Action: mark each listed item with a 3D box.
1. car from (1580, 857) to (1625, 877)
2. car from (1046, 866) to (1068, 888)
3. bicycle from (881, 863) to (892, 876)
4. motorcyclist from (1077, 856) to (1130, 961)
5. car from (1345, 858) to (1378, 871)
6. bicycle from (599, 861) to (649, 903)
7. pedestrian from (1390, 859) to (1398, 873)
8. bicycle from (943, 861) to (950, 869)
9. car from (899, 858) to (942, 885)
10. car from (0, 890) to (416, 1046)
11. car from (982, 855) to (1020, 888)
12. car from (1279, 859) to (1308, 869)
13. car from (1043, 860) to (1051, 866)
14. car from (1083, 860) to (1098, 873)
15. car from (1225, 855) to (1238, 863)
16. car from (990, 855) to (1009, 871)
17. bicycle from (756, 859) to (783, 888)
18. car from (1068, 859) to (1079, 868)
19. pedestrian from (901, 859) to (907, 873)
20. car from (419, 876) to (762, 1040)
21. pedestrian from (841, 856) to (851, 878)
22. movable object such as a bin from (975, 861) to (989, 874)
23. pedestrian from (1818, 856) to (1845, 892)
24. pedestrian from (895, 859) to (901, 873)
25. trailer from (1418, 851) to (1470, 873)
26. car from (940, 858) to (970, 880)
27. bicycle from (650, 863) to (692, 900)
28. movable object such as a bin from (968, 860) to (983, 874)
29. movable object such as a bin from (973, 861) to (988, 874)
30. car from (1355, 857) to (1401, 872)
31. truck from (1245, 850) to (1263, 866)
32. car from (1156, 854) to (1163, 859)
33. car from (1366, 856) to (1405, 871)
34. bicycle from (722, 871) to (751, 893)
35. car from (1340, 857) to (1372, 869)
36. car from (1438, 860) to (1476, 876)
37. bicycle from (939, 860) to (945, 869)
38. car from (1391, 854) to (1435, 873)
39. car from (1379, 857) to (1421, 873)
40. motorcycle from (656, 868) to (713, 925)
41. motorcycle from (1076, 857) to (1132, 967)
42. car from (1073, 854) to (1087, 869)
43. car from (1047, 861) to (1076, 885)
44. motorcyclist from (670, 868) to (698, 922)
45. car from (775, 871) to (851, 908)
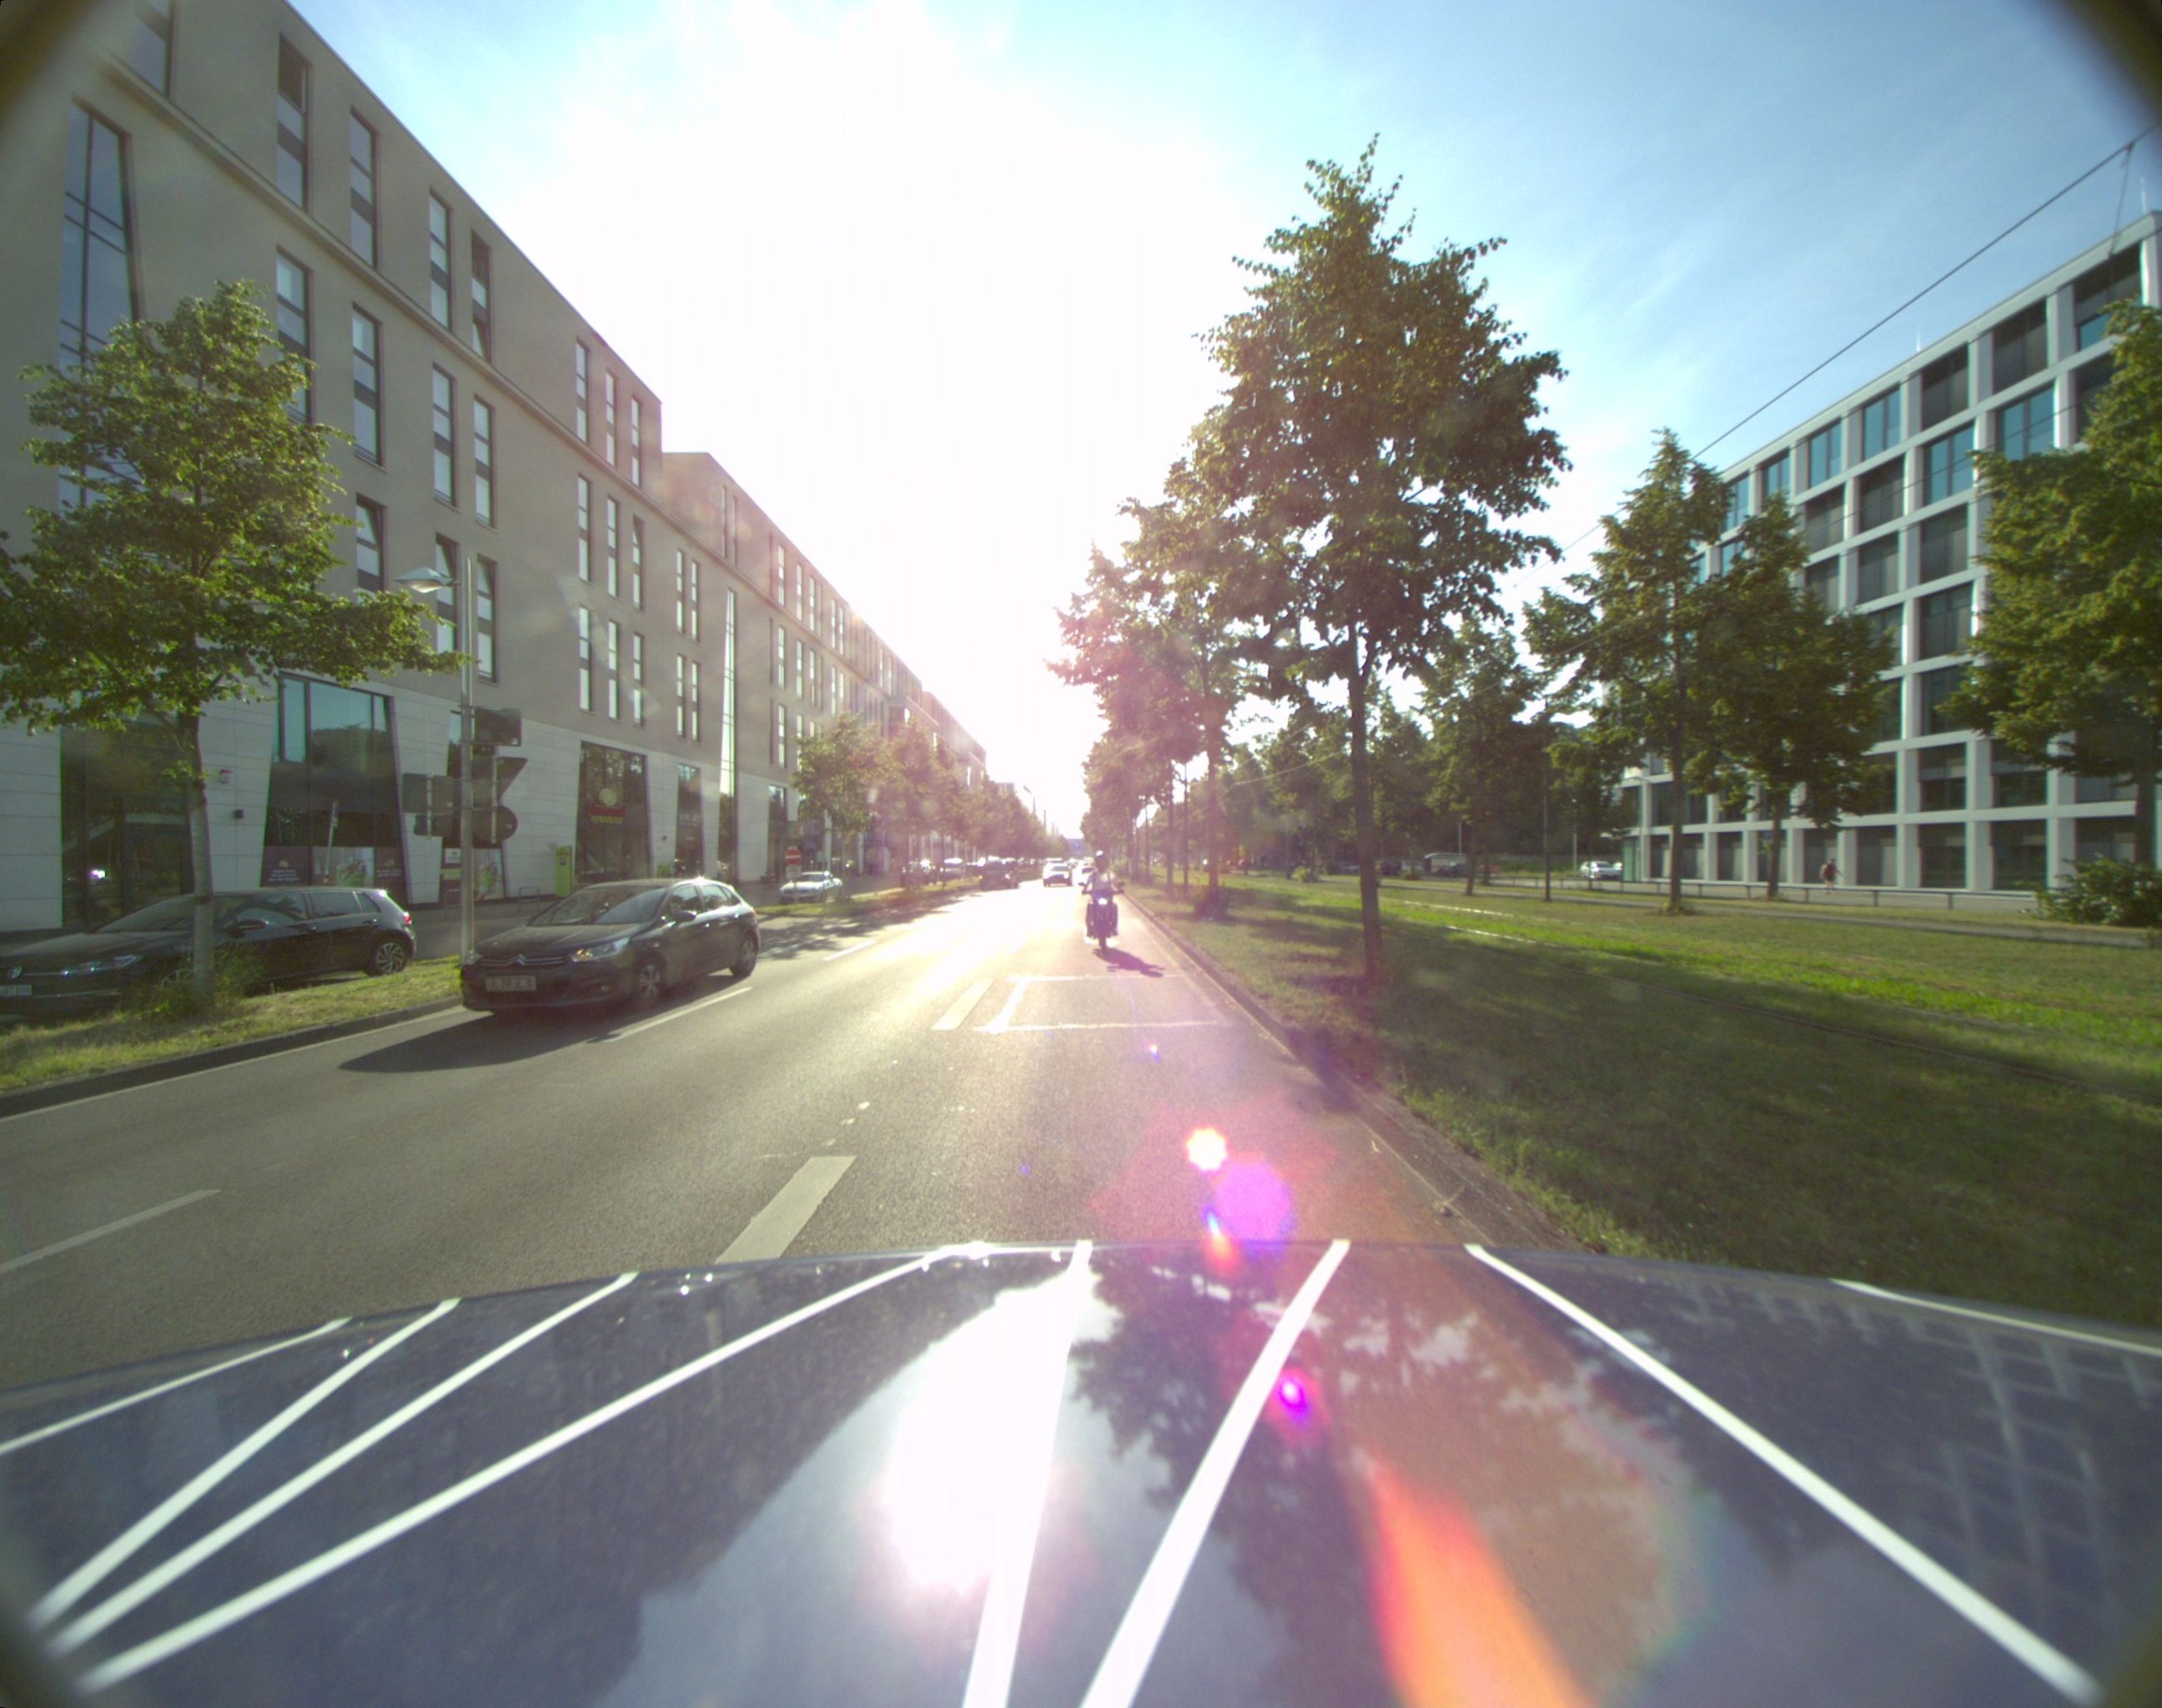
[{"bbox_3d":[46.953,1.172,68.469,1.851,1.586,4.003,-2,1,11],"label":"car"},{"bbox_3d":[-2.408,2.243,76.181,1.909,2.002,4.000,-2,1,1],"label":"car"},{"bbox_3d":[-17.699,1.437,69.209,0.493,1.109,1.945,0,1,1],"label":"bicycle"},{"bbox_3d":[0.375,0.900,13.003,0.814,1.699,0.843,-2,1,-1],"label":"motorcyclist"},{"bbox_3d":[36.503,1.349,98.839,3.655,1.420,1.810,-2,1,3],"label":"car"},{"bbox_3d":[-18.507,1.120,30.849,0.557,1.562,2.276,-2,1,1],"label":"bicycle"},{"bbox_3d":[34.434,1.337,83.603,0.523,1.472,0.568,-2,1,0],"label":"pedestrian"},{"bbox_3d":[-17.466,1.471,98.758,0.419,0.995,2.043,3,1,1],"label":"bicycle"},{"bbox_3d":[-10.854,1.180,51.702,1.902,1.698,4.677,-2,0,-1],"label":"car"},{"bbox_3d":[-11.357,1.295,9.913,1.611,1.362,4.157,-2,1,1],"label":"car"},{"bbox_3d":[-5.058,1.076,48.477,1.803,1.880,4.821,-2,1,0],"label":"car"},{"bbox_3d":[30.851,1.432,110.540,1.690,1.427,4.026,-3,1,-31],"label":"car"},{"bbox_3d":[-9.017,2.370,203.876,1.840,1.521,4.328,-2,1,0],"label":"car"},{"bbox_3d":[1.144,1.484,91.339,1.739,1.499,3.999,-2,1,0],"label":"car"},{"bbox_3d":[28.750,0.992,145.167,1.835,1.423,4.474,-2,1,2],"label":"car"},{"bbox_3d":[-10.155,1.073,95.443,1.842,1.865,5.030,-2,1,-1],"label":"car"},{"bbox_3d":[-18.284,1.150,44.680,0.557,1.609,2.212,-2,1,1],"label":"bicycle"},{"bbox_3d":[-1.363,1.680,136.702,1.840,1.521,4.328,-2,1,0],"label":"car"},{"bbox_3d":[-19.449,1.296,83.414,0.540,1.565,0.514,-2,1,-14],"label":"pedestrian"},{"bbox_3d":[-5.724,1.097,9.585,1.699,1.416,4.038,-2,1,-1],"label":"car"},{"bbox_3d":[-18.908,1.047,61.051,0.538,1.752,0.646,-2,1,1],"label":"pedestrian"},{"bbox_3d":[-9.844,1.309,75.820,1.281,1.229,1.191,-2,1,-3],"label":"movable object such as a bin"},{"bbox_3d":[36.596,0.951,37.055,0.569,1.718,0.691,-2,1,0],"label":"pedestrian"},{"bbox_3d":[-20.060,1.307,83.254,0.515,1.513,0.597,-2,1,0],"label":"pedestrian"},{"bbox_3d":[36.969,0.773,77.390,4.374,2.042,1.758,-2,1,4],"label":"trailer"},{"bbox_3d":[-10.589,1.217,64.036,1.832,1.702,4.295,-2,1,-1],"label":"car"},{"bbox_3d":[-18.273,1.205,33.946,0.557,1.558,2.212,-2,1,1],"label":"bicycle"},{"bbox_3d":[-10.176,1.263,73.090,1.281,1.284,1.178,-2,1,-3],"label":"movable object such as a bin"},{"bbox_3d":[-9.850,1.348,74.563,1.281,1.229,1.191,-2,1,-3],"label":"movable object such as a bin"},{"bbox_3d":[37.549,1.353,96.114,5.071,1.725,1.886,-2,1,3],"label":"car"},{"bbox_3d":[40.277,0.883,177.113,2.895,3.495,7.946,-2,1,5],"label":"truck"},{"bbox_3d":[25.987,0.851,252.086,1.686,1.467,4.813,2,1,1],"label":"car"},{"bbox_3d":[37.500,1.164,93.634,3.996,1.551,1.856,-2,1,3],"label":"car"},{"bbox_3d":[-18.130,1.460,40.011,0.635,1.077,1.904,0,0,1],"label":"bicycle"},{"bbox_3d":[38.317,1.307,105.918,3.865,1.477,1.744,-2,1,8],"label":"car"},{"bbox_3d":[36.358,1.310,73.587,1.684,1.385,3.760,-2,1,-3],"label":"car"},{"bbox_3d":[-17.420,1.296,95.060,0.345,1.075,1.732,3,1,1],"label":"bicycle"},{"bbox_3d":[36.281,1.037,83.152,4.002,1.936,1.757,-2,1,1],"label":"car"},{"bbox_3d":[36.249,1.235,86.308,4.002,1.633,1.757,-2,1,1],"label":"car"},{"bbox_3d":[-12.351,1.297,23.756,0.703,1.608,2.011,3,1,-2],"label":"motorcycle"},{"bbox_3d":[0.353,0.904,13.149,0.798,1.659,2.634,-2,1,0],"label":"motorcycle"},{"bbox_3d":[-0.178,1.013,102.909,1.777,1.805,3.999,-2,1,0],"label":"car"},{"bbox_3d":[-1.310,1.213,50.012,1.756,1.427,4.034,-2,1,-2],"label":"car"},{"bbox_3d":[-12.349,1.268,23.646,0.625,1.631,0.417,1,0,-3],"label":"motorcyclist"},{"bbox_3d":[-10.908,1.413,31.193,1.712,1.235,3.905,-2,1,0],"label":"car"}]
